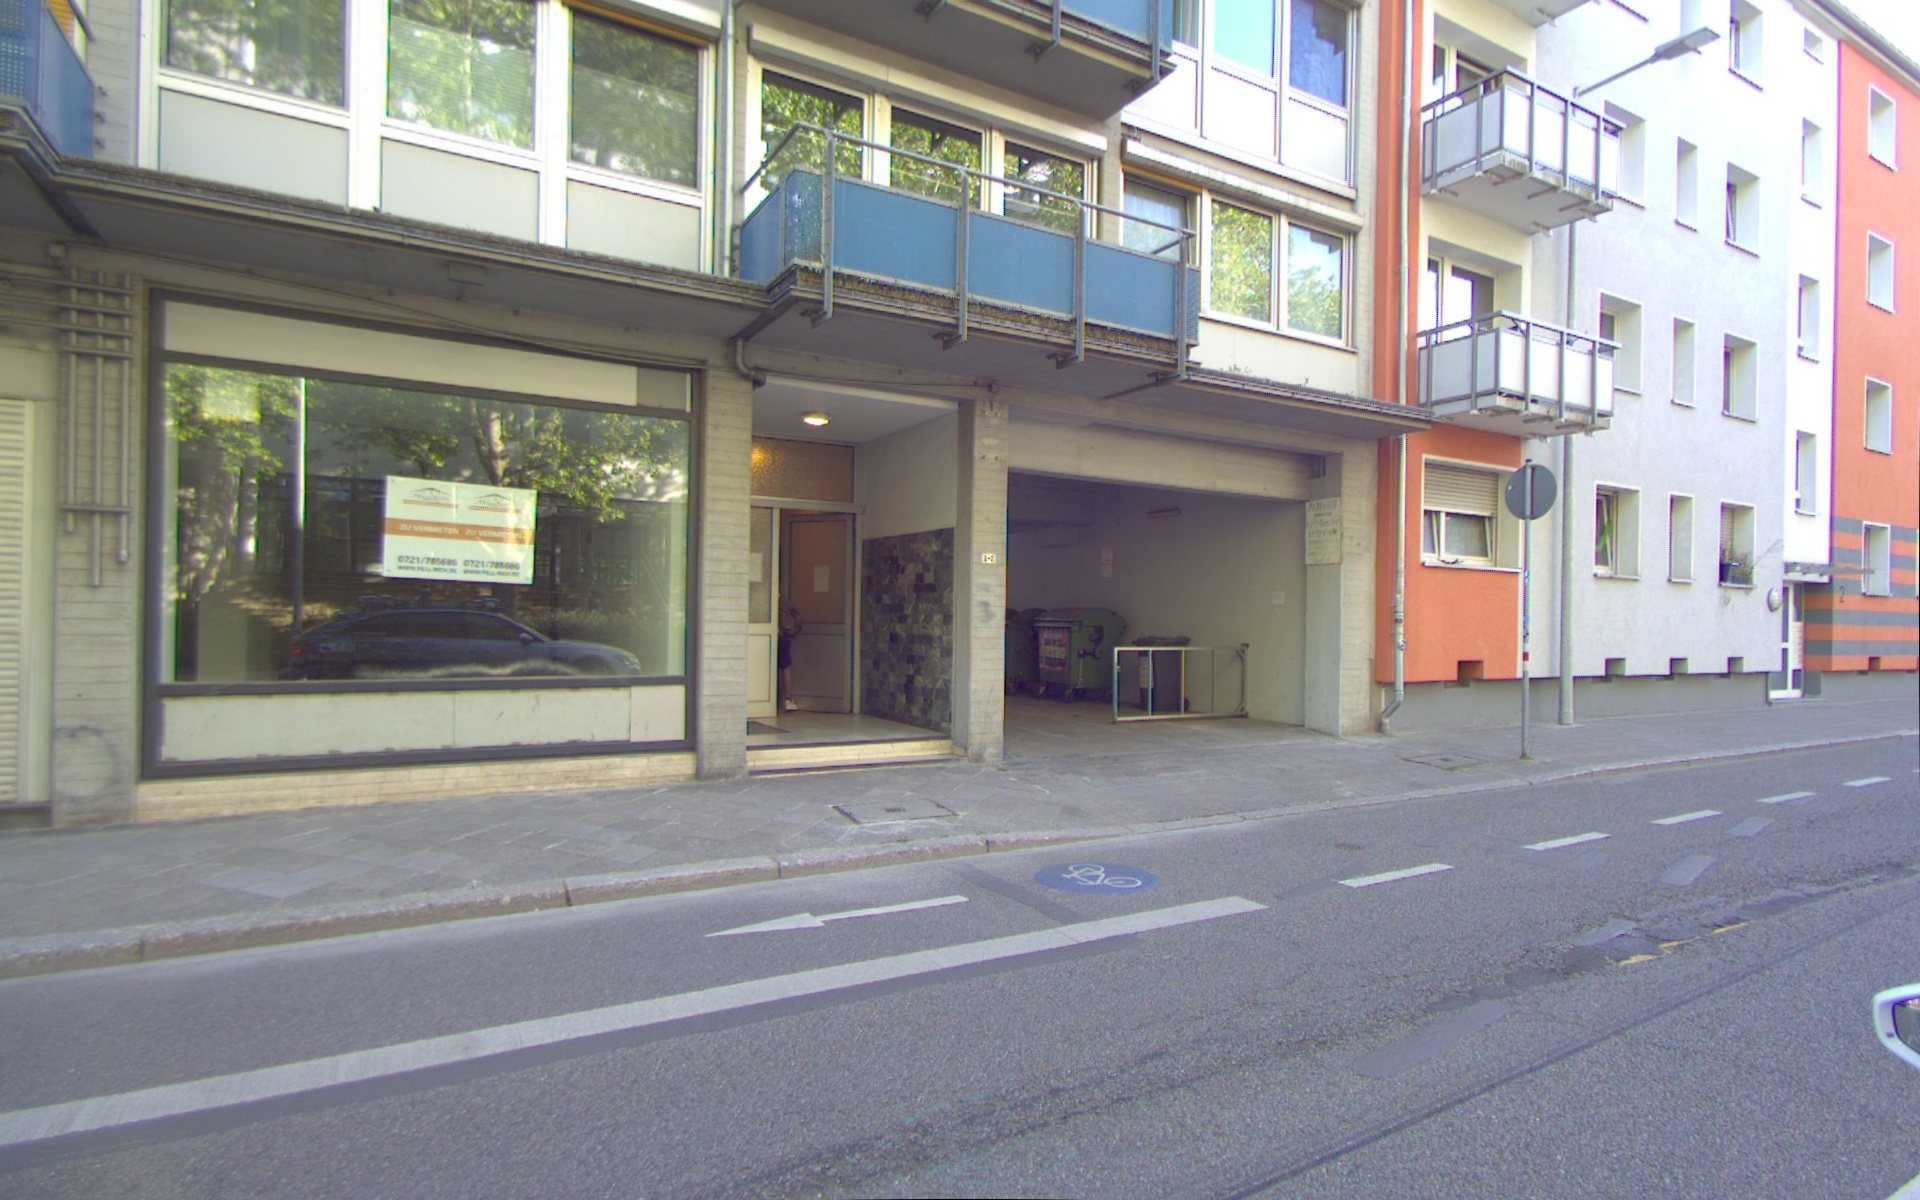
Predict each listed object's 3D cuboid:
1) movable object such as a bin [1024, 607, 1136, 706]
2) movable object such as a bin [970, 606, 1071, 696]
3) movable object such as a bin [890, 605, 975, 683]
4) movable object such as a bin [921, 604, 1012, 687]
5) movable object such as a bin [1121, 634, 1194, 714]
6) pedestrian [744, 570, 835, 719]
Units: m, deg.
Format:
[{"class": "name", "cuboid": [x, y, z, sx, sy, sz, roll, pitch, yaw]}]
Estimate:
[{"class": "movable object such as a bin", "cuboid": [1.868, 0.866, 15.801, 1.182, 1.452, 1.300, 2, 0, -30]}, {"class": "movable object such as a bin", "cuboid": [1.028, 0.847, 17.188, 1.182, 1.452, 1.300, 2, 0, -30]}, {"class": "movable object such as a bin", "cuboid": [-0.553, 0.858, 19.926, 1.182, 1.452, 1.300, 2, 0, -30]}, {"class": "movable object such as a bin", "cuboid": [0.115, 0.827, 18.762, 1.182, 1.452, 1.300, 2, 0, -30]}, {"class": "movable object such as a bin", "cuboid": [2.845, 1.059, 14.518, 0.707, 1.089, 0.735, 2, 0, -30]}, {"class": "pedestrian", "cuboid": [-1.918, 0.480, 11.291, 0.913, 1.606, 0.562, 1, 0, 44]}]
